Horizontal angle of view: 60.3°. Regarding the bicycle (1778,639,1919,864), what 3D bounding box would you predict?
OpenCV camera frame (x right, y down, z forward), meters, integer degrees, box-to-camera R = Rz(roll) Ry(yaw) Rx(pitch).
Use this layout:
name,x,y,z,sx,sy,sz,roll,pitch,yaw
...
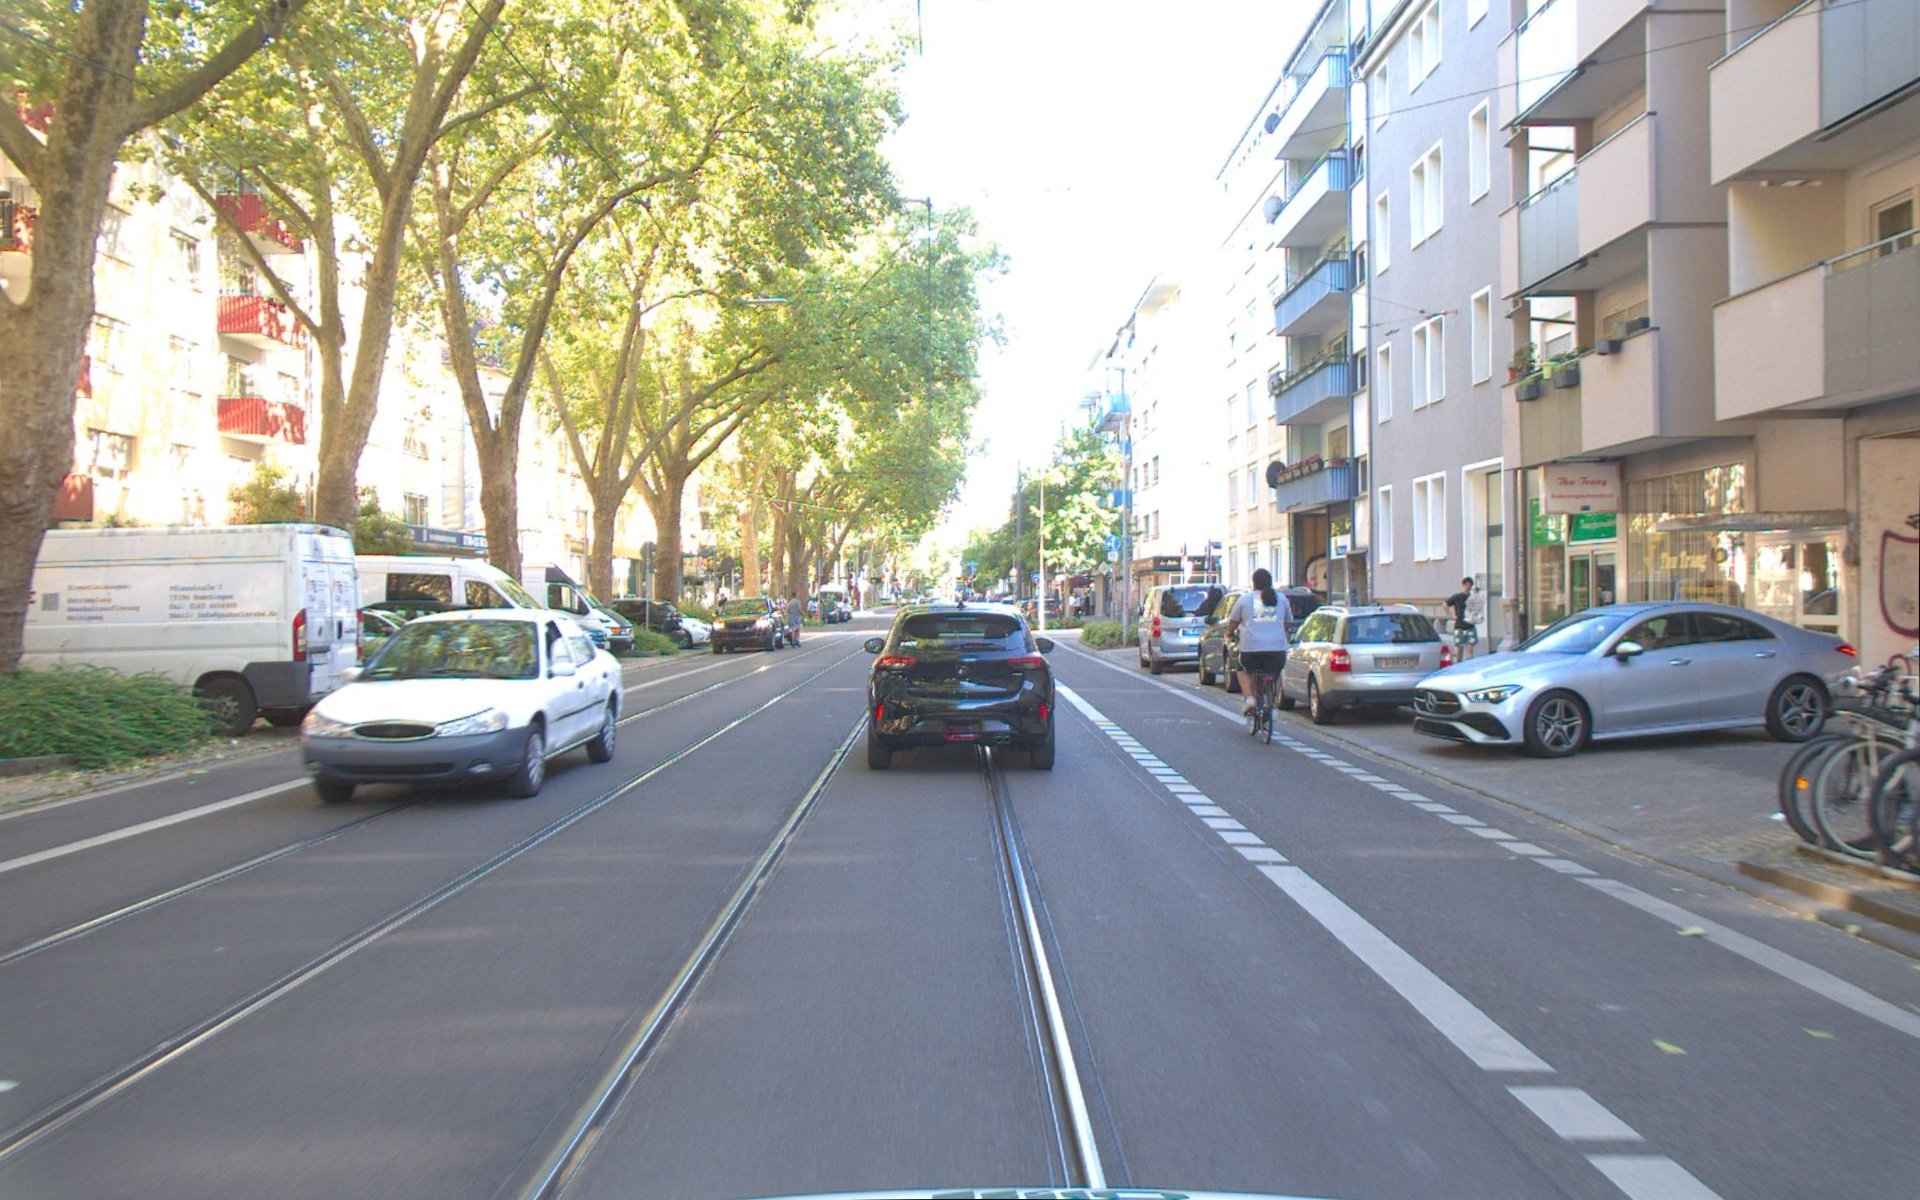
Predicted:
name,x,y,z,sx,sy,sz,roll,pitch,yaw
bicycle,5.741,0.836,9.536,1.786,1.212,0.457,-3,0,-1

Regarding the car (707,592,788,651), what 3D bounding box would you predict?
name,x,y,z,sx,sy,sz,roll,pitch,yaw
car,-6.688,0.658,52.549,1.953,1.729,4.484,-2,0,0

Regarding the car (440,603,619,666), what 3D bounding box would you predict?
name,x,y,z,sx,sy,sz,roll,pitch,yaw
car,-10.643,0.832,41.080,3.937,1.491,1.872,0,0,0

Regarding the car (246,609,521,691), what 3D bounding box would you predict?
name,x,y,z,sx,sy,sz,roll,pitch,yaw
car,-10.413,0.888,30.125,4.320,1.409,1.933,0,0,-1

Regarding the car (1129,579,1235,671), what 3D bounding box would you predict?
name,x,y,z,sx,sy,sz,roll,pitch,yaw
car,4.949,0.524,37.429,1.820,1.923,4.925,-1,0,1

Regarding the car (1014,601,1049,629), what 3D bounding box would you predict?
name,x,y,z,sx,sy,sz,roll,pitch,yaw
car,3.973,0.805,92.528,1.683,1.516,3.680,-1,0,-2

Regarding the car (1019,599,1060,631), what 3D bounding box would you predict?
name,x,y,z,sx,sy,sz,roll,pitch,yaw
car,4.170,0.782,87.088,1.684,1.601,4.081,-1,0,-4

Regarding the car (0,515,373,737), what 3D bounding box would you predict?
name,x,y,z,sx,sy,sz,roll,pitch,yaw
car,-10.444,0.295,20.384,5.623,2.580,2.162,0,0,0

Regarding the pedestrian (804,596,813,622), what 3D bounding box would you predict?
name,x,y,z,sx,sy,sz,roll,pitch,yaw
pedestrian,-9.401,0.534,102.771,0.497,1.610,0.526,-1,0,-4

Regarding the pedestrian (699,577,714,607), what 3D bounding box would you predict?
name,x,y,z,sx,sy,sz,roll,pitch,yaw
pedestrian,-14.325,-0.448,93.468,0.830,1.661,0.643,-1,0,-6

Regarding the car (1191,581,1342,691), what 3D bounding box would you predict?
name,x,y,z,sx,sy,sz,roll,pitch,yaw
car,5.209,0.571,28.660,1.731,1.734,4.282,-1,0,-1

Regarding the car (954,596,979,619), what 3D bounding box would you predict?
name,x,y,z,sx,sy,sz,roll,pitch,yaw
car,0.491,0.555,127.272,1.820,1.680,4.001,-1,0,1

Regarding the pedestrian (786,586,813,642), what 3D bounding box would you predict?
name,x,y,z,sx,sy,sz,roll,pitch,yaw
pedestrian,-5.280,0.455,54.310,0.699,1.765,0.910,-2,0,-15

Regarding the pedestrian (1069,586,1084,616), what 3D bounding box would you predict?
name,x,y,z,sx,sy,sz,roll,pitch,yaw
pedestrian,6.907,0.074,98.054,0.752,1.779,0.796,-1,0,18

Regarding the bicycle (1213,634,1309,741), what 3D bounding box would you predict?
name,x,y,z,sx,sy,sz,roll,pitch,yaw
bicycle,3.391,0.960,18.791,0.687,1.111,1.990,1,-1,-1

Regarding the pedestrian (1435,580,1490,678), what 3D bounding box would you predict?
name,x,y,z,sx,sy,sz,roll,pitch,yaw
pedestrian,9.101,0.520,29.991,0.741,1.750,0.720,-1,0,-2

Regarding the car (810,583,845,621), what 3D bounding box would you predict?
name,x,y,z,sx,sy,sz,roll,pitch,yaw
car,-9.503,0.133,119.202,2.050,2.629,5.996,-1,0,-1

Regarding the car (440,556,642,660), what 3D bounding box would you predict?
name,x,y,z,sx,sy,sz,roll,pitch,yaw
car,-11.006,0.196,43.711,4.845,2.612,2.081,-1,0,-4

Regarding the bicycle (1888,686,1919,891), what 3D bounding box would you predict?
name,x,y,z,sx,sy,sz,roll,pitch,yaw
bicycle,5.728,0.943,8.511,1.619,1.038,0.457,-3,0,-1

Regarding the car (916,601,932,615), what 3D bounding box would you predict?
name,x,y,z,sx,sy,sz,roll,pitch,yaw
car,-4.232,0.932,194.976,1.714,1.680,4.001,-1,0,1

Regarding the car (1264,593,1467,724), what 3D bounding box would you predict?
name,x,y,z,sx,sy,sz,roll,pitch,yaw
car,5.300,0.702,22.188,1.689,1.552,4.513,-1,0,1

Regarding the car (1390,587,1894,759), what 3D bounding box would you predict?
name,x,y,z,sx,sy,sz,roll,pitch,yaw
car,6.973,0.686,17.076,4.532,1.462,1.859,-2,0,-12

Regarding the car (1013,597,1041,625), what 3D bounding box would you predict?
name,x,y,z,sx,sy,sz,roll,pitch,yaw
car,3.899,0.623,96.615,1.617,1.601,3.084,-1,0,1

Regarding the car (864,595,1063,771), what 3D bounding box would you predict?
name,x,y,z,sx,sy,sz,roll,pitch,yaw
car,0.009,0.702,15.698,1.645,1.447,3.627,1,0,-1

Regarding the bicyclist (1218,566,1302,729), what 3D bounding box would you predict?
name,x,y,z,sx,sy,sz,roll,pitch,yaw
bicyclist,3.384,0.522,18.718,0.770,1.790,0.914,0,0,-1

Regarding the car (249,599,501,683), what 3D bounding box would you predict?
name,x,y,z,sx,sy,sz,roll,pitch,yaw
car,-11.446,0.781,32.575,4.281,1.566,1.872,0,0,-1

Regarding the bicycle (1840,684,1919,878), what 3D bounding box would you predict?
name,x,y,z,sx,sy,sz,roll,pitch,yaw
bicycle,5.744,0.945,9.020,1.619,0.983,0.457,-3,0,-1

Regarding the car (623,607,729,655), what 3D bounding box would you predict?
name,x,y,z,sx,sy,sz,roll,pitch,yaw
car,-9.688,1.058,56.636,3.362,1.557,1.786,-1,0,-4

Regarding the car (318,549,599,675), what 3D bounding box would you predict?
name,x,y,z,sx,sy,sz,roll,pitch,yaw
car,-10.460,0.236,34.809,5.250,2.521,2.057,-1,0,0

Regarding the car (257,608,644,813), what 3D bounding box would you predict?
name,x,y,z,sx,sy,sz,roll,pitch,yaw
car,-3.981,0.782,13.758,1.682,1.382,4.471,-1,0,2

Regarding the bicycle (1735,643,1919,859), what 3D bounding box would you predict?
name,x,y,z,sx,sy,sz,roll,pitch,yaw
bicycle,5.751,0.883,10.021,1.853,1.212,0.457,-3,0,-1

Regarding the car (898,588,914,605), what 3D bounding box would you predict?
name,x,y,z,sx,sy,sz,roll,pitch,yaw
car,-7.367,-0.464,226.899,1.954,2.250,5.098,-1,0,-4

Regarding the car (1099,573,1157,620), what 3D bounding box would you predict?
name,x,y,z,sx,sy,sz,roll,pitch,yaw
car,6.279,-0.127,62.141,1.820,1.680,4.001,-1,0,1

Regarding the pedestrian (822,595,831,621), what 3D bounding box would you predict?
name,x,y,z,sx,sy,sz,roll,pitch,yaw
pedestrian,-8.328,0.512,103.014,0.496,1.610,0.526,-1,0,-1

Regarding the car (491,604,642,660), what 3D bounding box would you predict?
name,x,y,z,sx,sy,sz,roll,pitch,yaw
car,-11.019,0.889,46.499,3.776,1.504,1.860,-1,0,-2

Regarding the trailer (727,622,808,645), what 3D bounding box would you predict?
name,x,y,z,sx,sy,sz,roll,pitch,yaw
trailer,-6.667,1.164,57.975,2.116,0.643,6.399,-1,0,0

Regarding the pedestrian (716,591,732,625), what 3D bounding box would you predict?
name,x,y,z,sx,sy,sz,roll,pitch,yaw
pedestrian,-13.537,0.444,94.871,0.887,1.901,0.643,-1,0,-6

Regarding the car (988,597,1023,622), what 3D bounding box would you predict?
name,x,y,z,sx,sy,sz,roll,pitch,yaw
car,3.014,0.618,111.295,1.954,1.668,3.996,-1,0,-4

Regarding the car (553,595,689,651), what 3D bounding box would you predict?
name,x,y,z,sx,sy,sz,roll,pitch,yaw
car,-10.672,0.712,52.232,3.906,1.676,1.893,-1,0,-2

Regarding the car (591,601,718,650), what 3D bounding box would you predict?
name,x,y,z,sx,sy,sz,roll,pitch,yaw
car,-10.118,0.831,54.926,3.906,1.548,1.770,-1,0,-2

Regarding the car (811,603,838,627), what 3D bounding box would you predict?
name,x,y,z,sx,sy,sz,roll,pitch,yaw
car,-9.255,1.004,113.064,1.719,1.534,3.997,-1,0,-4

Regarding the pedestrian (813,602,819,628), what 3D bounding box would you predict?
name,x,y,z,sx,sy,sz,roll,pitch,yaw
pedestrian,-8.977,0.939,103.420,0.339,1.610,0.508,-1,0,-2
